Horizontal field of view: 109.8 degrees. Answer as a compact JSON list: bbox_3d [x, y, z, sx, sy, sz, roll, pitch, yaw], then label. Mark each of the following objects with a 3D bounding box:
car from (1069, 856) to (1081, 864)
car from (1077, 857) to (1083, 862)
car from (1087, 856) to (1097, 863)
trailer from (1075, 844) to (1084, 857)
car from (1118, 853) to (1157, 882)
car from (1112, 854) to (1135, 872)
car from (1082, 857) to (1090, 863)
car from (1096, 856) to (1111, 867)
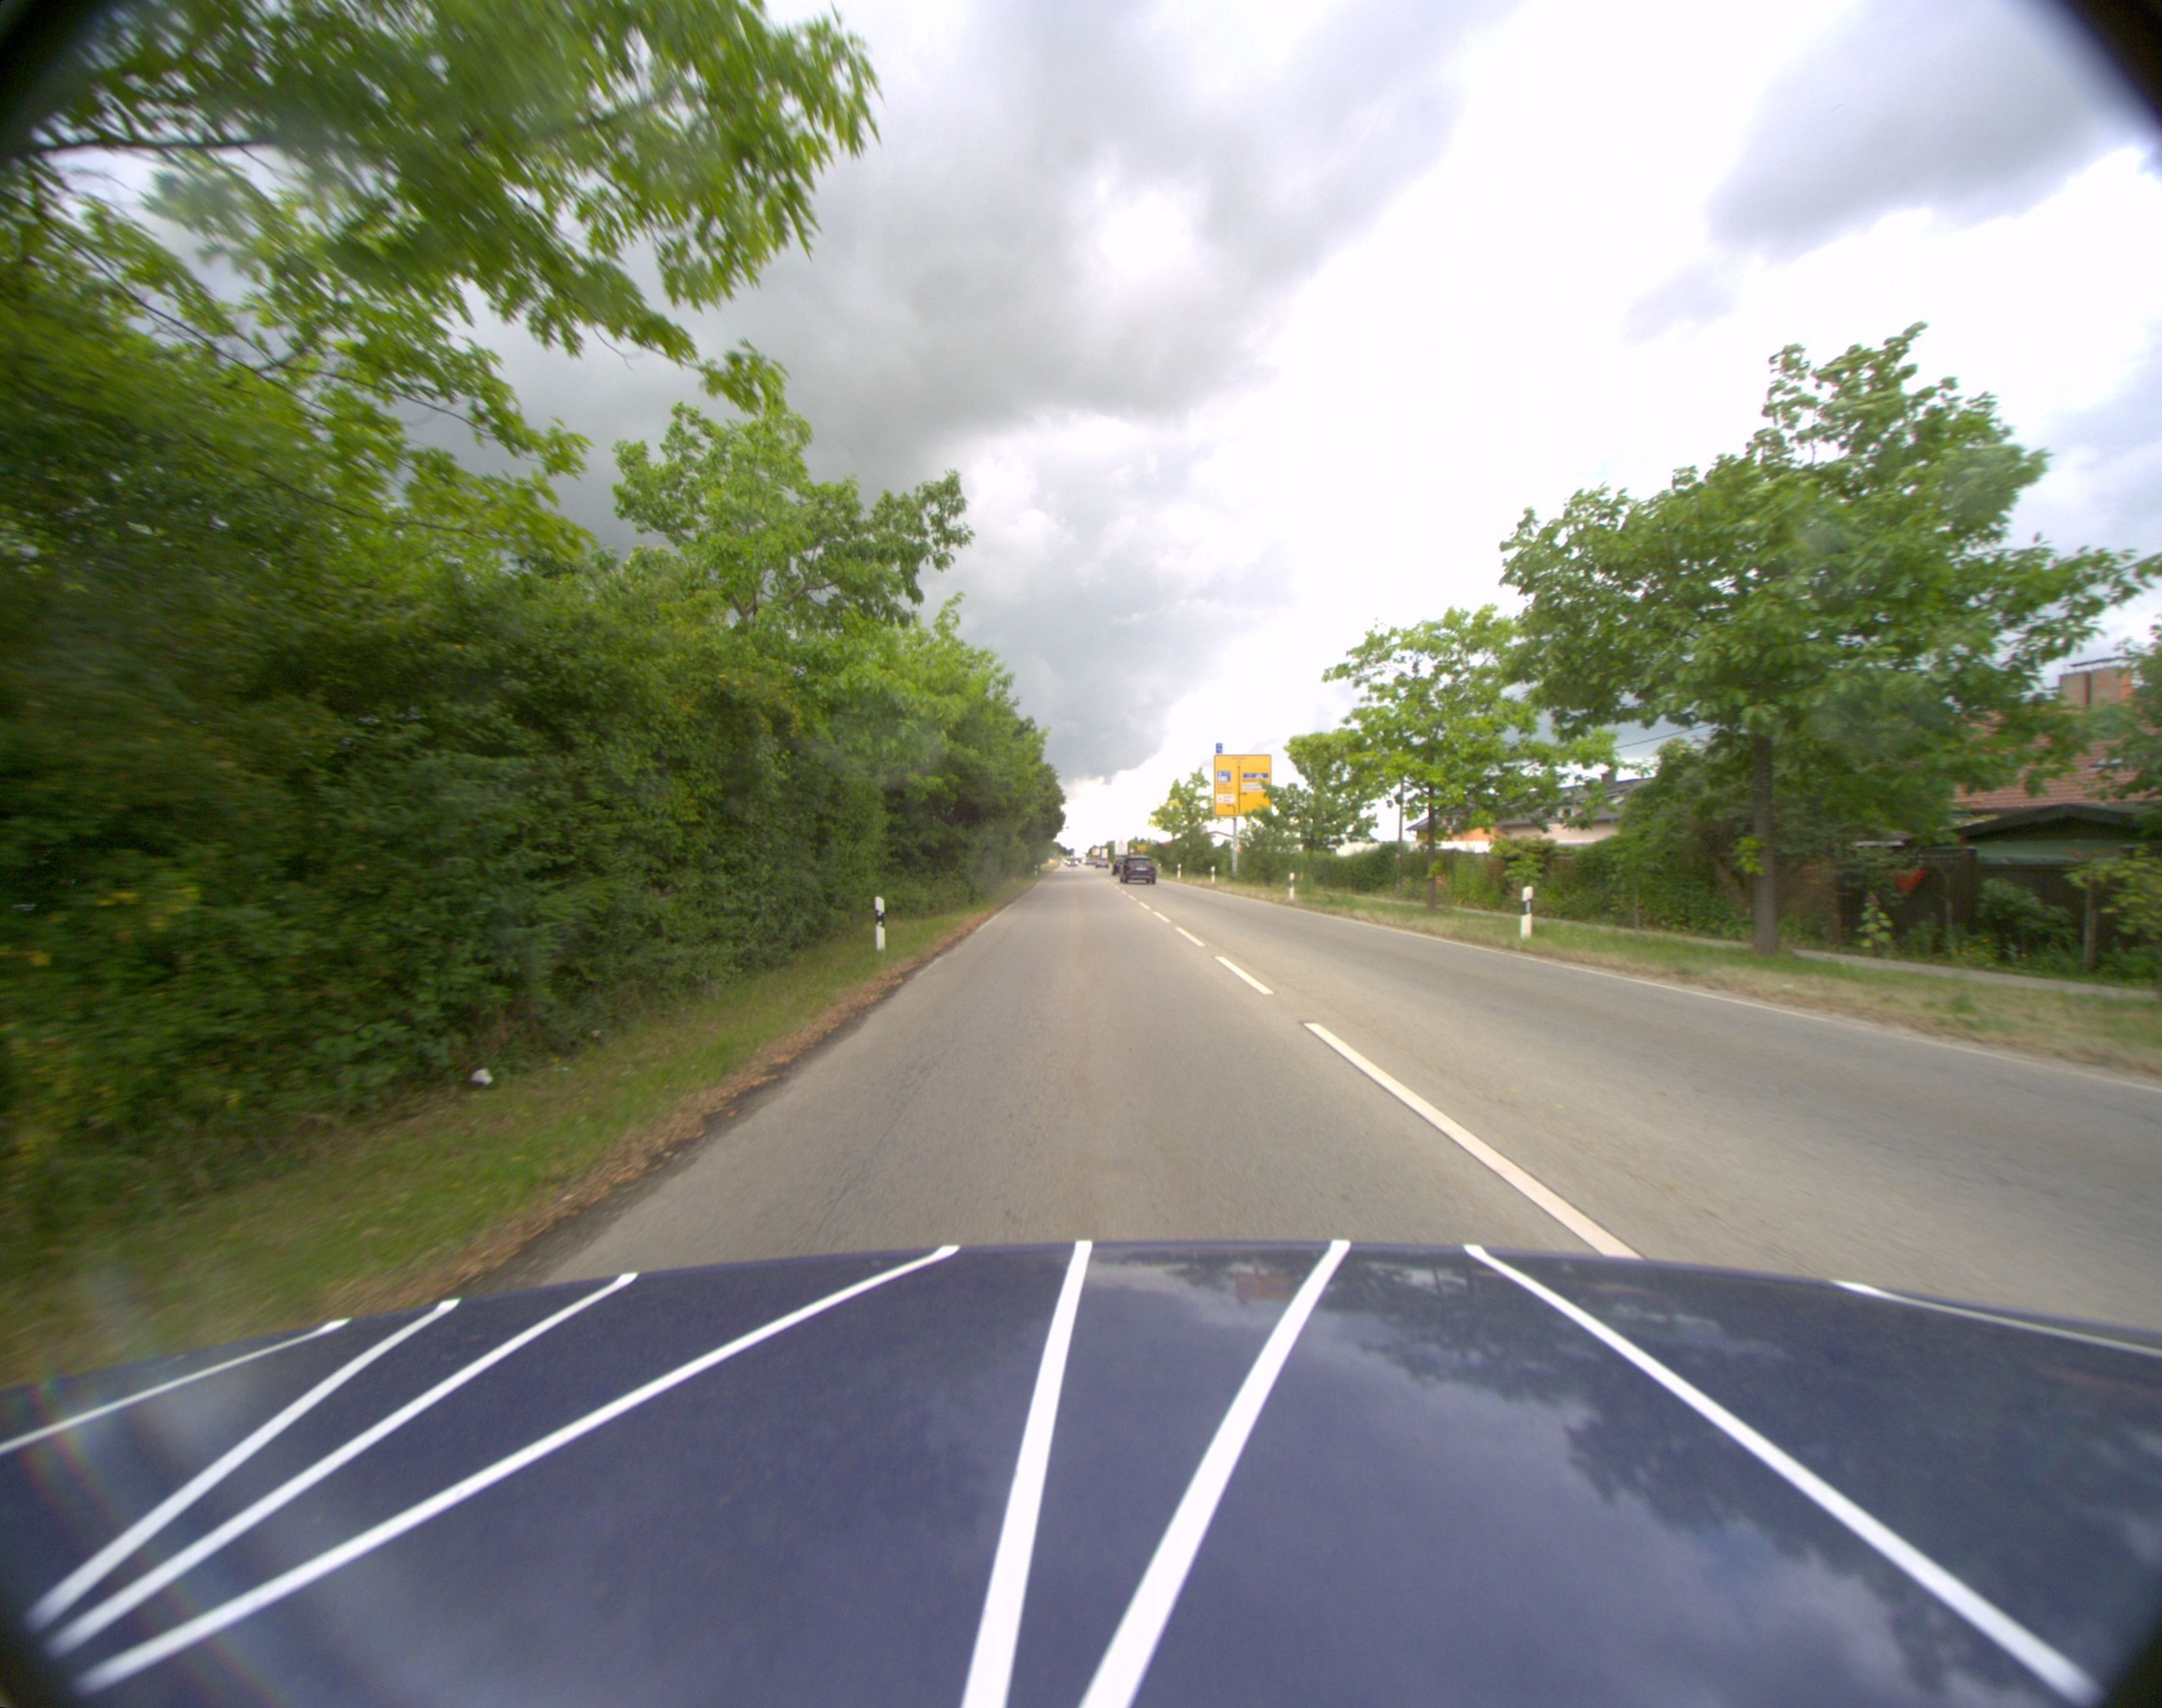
[{"bbox_3d":[-1.016,1.056,128.448,1.869,1.352,3.826,0,0,-1],"label":"car"},{"bbox_3d":[-0.286,1.597,230.329,1.733,1.577,4.504,1,0,-1],"label":"car"},{"bbox_3d":[2.148,1.071,153.973,1.857,1.456,4.370,1,0,-1],"label":"car"},{"bbox_3d":[-0.579,-1.144,252.180,2.641,4.096,13.765,0,0,-1],"label":"trailer"},{"bbox_3d":[3.146,0.708,42.702,1.738,1.525,4.094,1,0,-2],"label":"car"},{"bbox_3d":[3.516,0.730,63.586,1.681,1.403,4.012,2,0,0],"label":"car"},{"bbox_3d":[1.092,1.368,178.012,1.778,1.365,4.099,2,0,-1],"label":"car"},{"bbox_3d":[3.147,0.978,106.288,1.820,1.485,4.203,1,0,-1],"label":"car"}]
